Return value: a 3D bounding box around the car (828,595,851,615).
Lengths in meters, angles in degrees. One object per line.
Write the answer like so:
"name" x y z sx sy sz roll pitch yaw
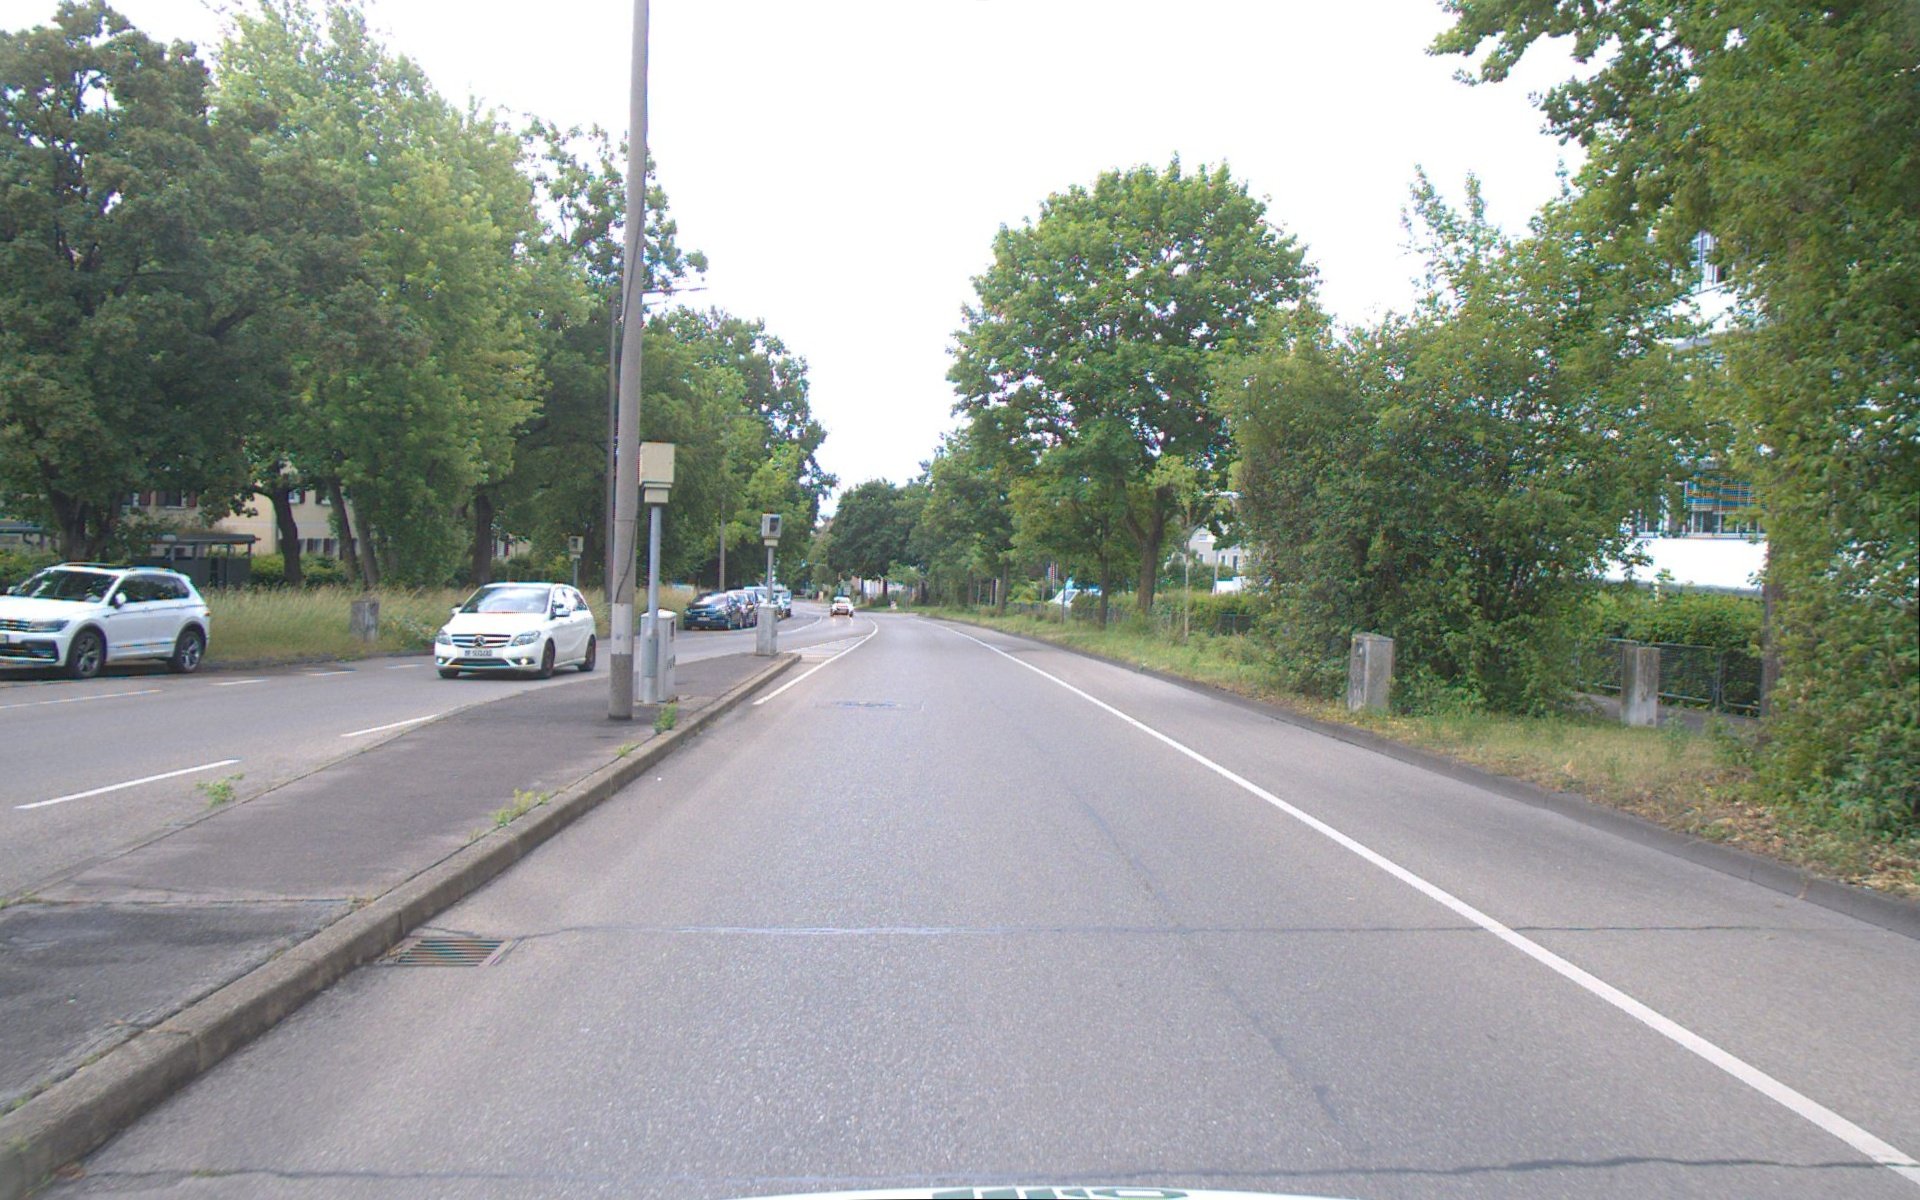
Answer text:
"car" -9.086 0.389 124.732 1.604 1.493 3.998 0 0 -2

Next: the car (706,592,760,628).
"car" -9.585 0.397 70.020 1.732 1.473 4.149 1 0 0

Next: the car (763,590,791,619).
"car" -13.083 0.347 118.705 1.830 1.998 5.121 1 0 -5

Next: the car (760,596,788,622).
"car" -11.680 0.547 104.129 1.640 1.592 4.277 1 0 -5

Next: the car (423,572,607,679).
"car" -7.367 0.433 27.832 1.837 1.598 4.339 2 -1 0

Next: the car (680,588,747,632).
"car" -9.574 0.393 64.477 1.837 1.598 4.650 1 0 0

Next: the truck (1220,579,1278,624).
"truck" 24.155 0.177 138.565 2.796 3.519 9.537 2 -1 -2

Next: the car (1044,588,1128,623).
"car" 9.495 0.446 124.476 5.940 2.408 2.341 2 -1 -28

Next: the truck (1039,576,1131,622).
"truck" 10.057 -0.055 132.489 7.082 3.538 2.595 1 0 -29

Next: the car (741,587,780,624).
"car" -11.175 0.276 92.998 1.733 1.964 5.152 2 0 -3

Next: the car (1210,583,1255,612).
"car" 26.875 -0.286 162.998 2.217 2.723 5.432 1 2 35

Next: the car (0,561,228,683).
"car" -13.422 0.307 25.575 1.835 1.696 4.393 2 0 6
